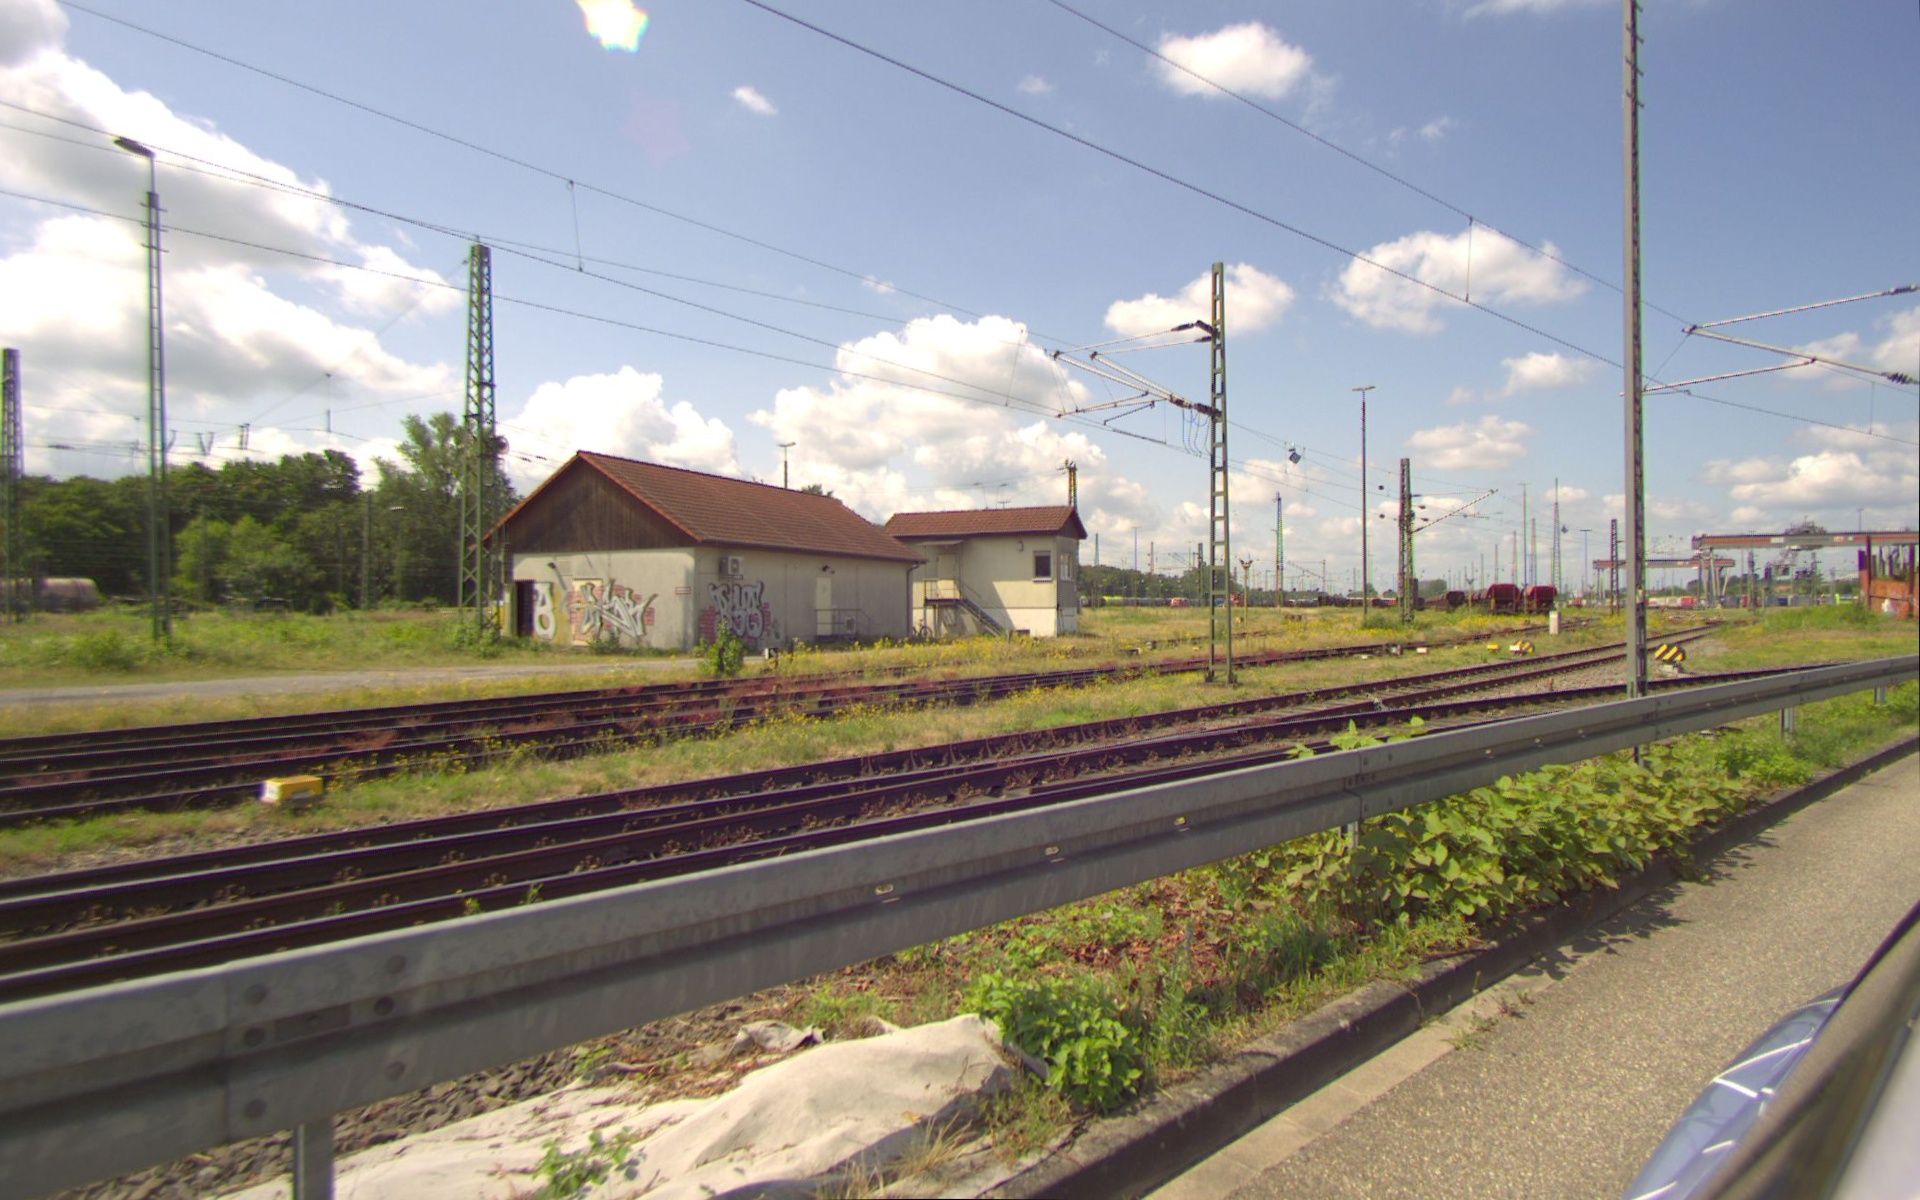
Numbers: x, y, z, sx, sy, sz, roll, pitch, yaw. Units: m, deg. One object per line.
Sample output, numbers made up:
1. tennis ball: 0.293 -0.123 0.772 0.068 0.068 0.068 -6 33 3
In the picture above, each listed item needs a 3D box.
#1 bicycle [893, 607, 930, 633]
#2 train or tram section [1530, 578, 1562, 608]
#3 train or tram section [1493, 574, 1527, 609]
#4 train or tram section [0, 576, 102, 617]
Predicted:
1. bicycle: -2.307 0.966 48.091 1.856 1.219 0.408 -1 -1 29
2. train or tram section: 77.234 -0.836 133.505 3.176 3.764 12.427 -1 0 28
3. train or tram section: 62.769 -0.921 115.674 3.271 3.764 12.427 -1 0 28
4. train or tram section: -79.931 -0.236 82.436 3.001 3.346 15.630 -1 1 24
